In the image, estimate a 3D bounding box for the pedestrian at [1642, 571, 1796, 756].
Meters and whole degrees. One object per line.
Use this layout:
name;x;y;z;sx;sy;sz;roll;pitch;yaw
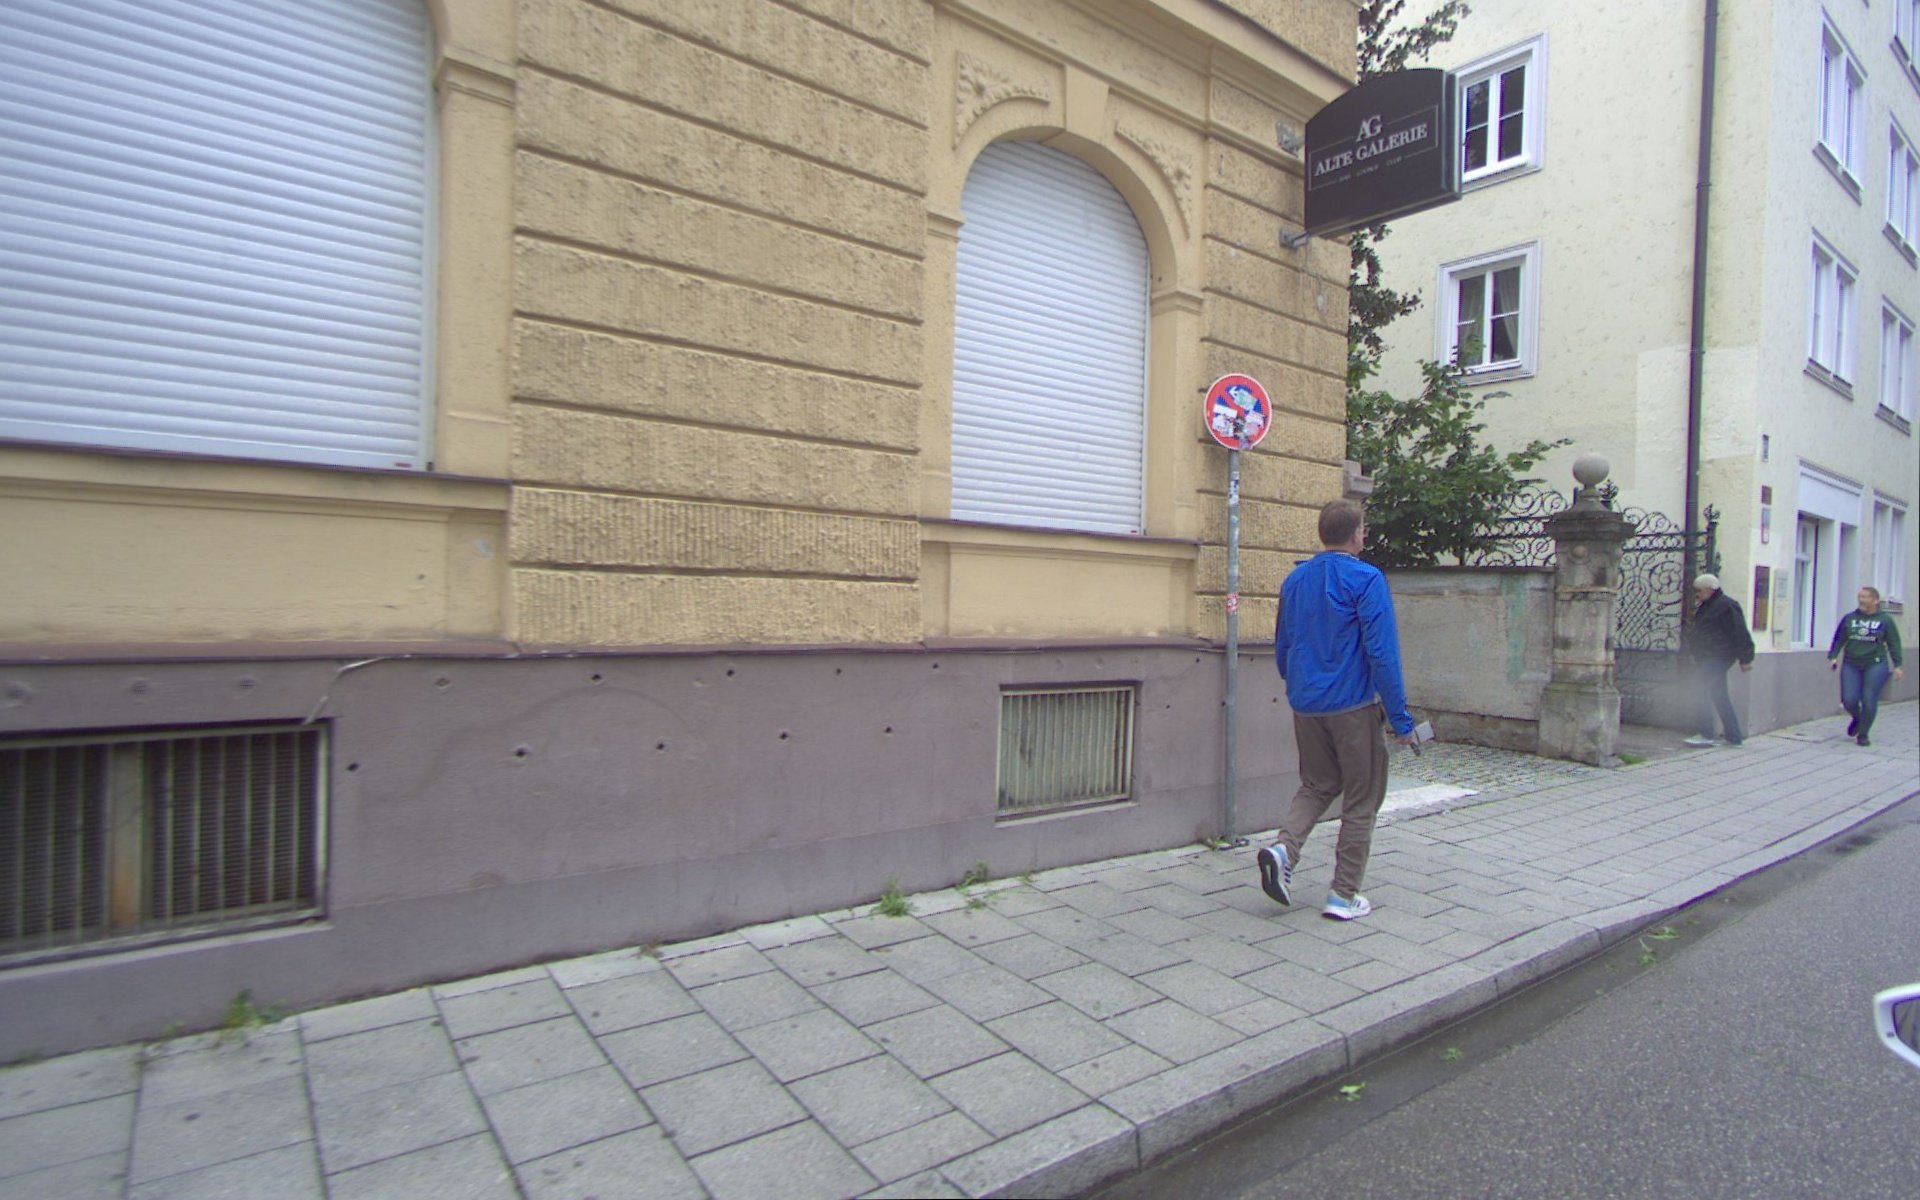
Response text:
pedestrian;8.064;0.639;10.727;0.936;1.852;0.909;2;1;10

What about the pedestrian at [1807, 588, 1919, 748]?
pedestrian;10.253;0.739;11.393;0.921;1.688;0.707;1;3;-38

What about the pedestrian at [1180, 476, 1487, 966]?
pedestrian;1.661;0.464;4.464;1.067;1.879;0.751;1;2;-38
